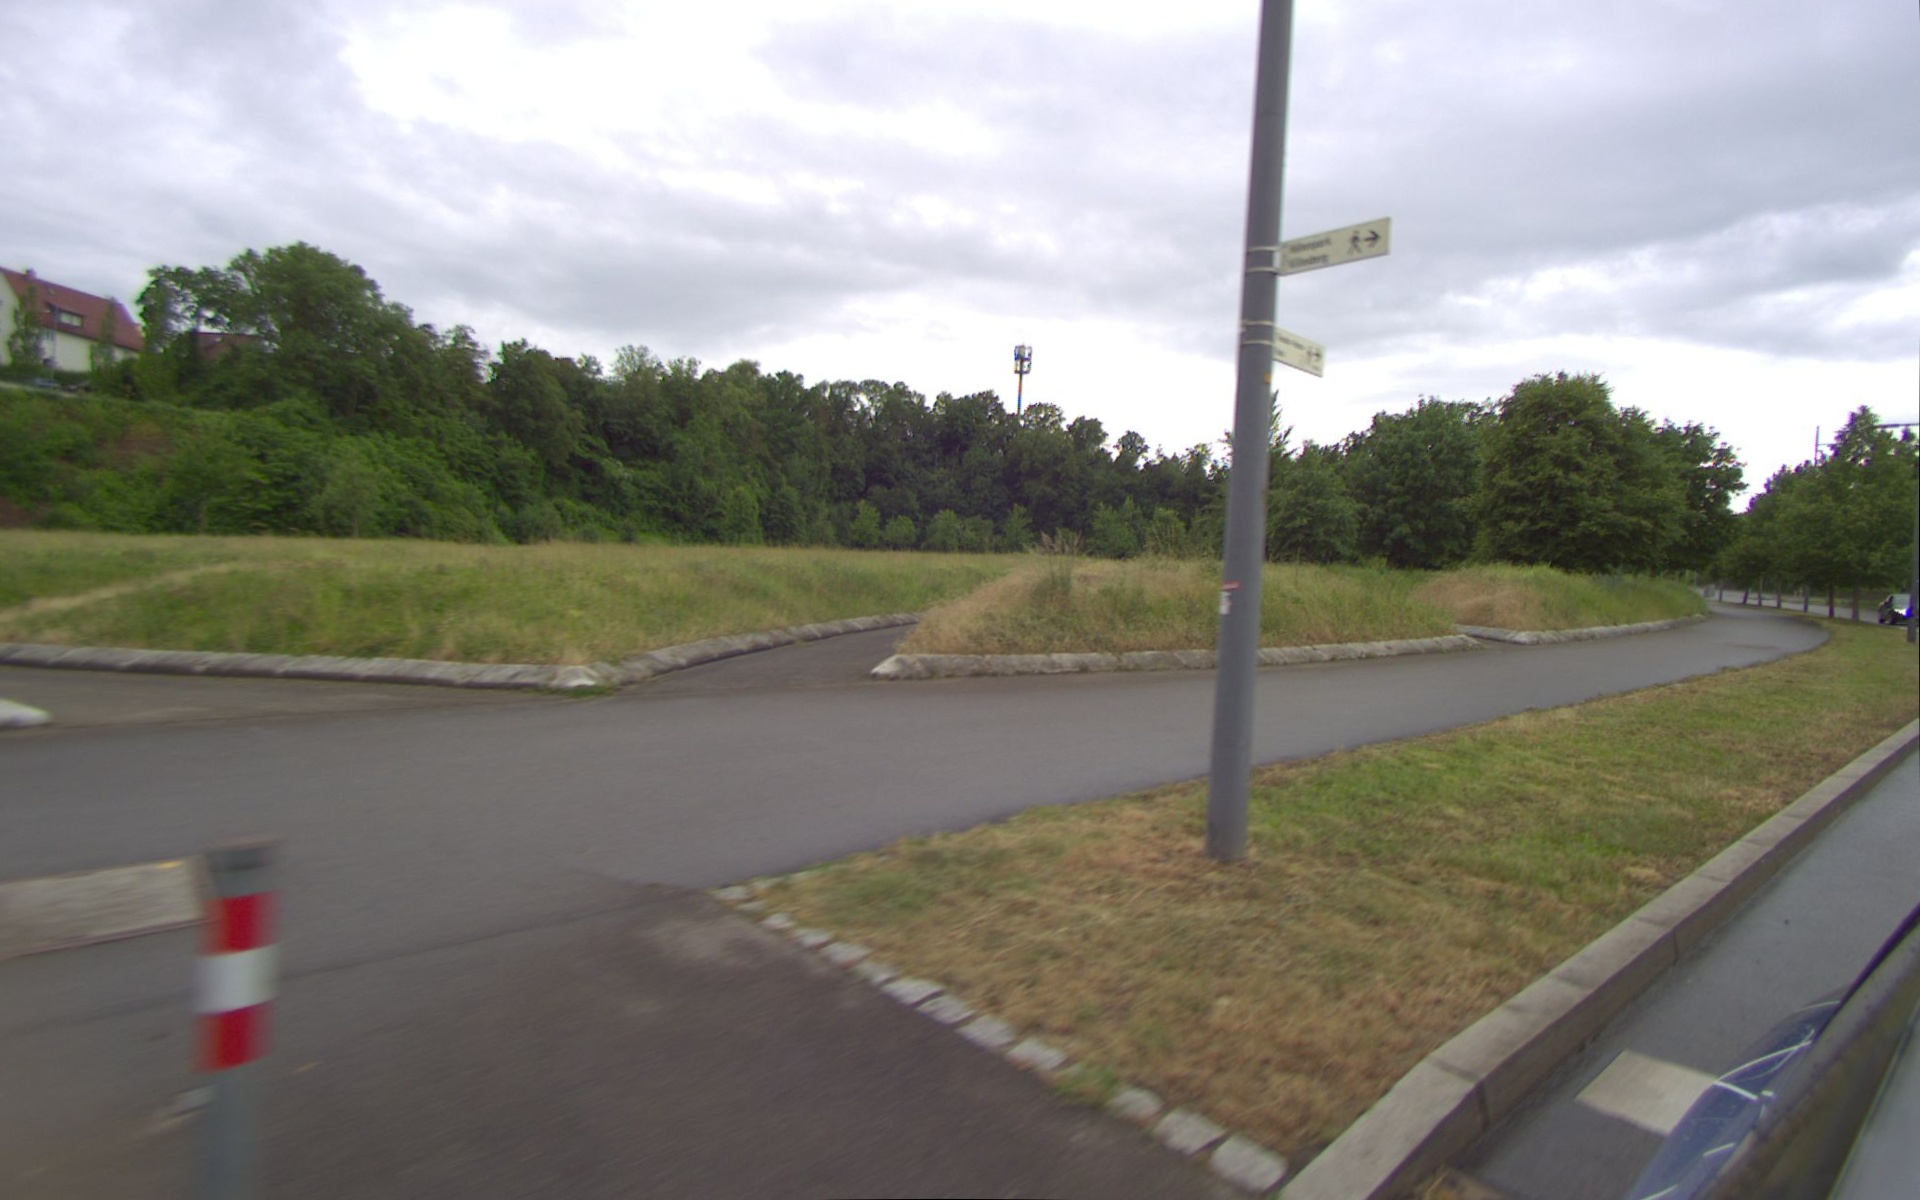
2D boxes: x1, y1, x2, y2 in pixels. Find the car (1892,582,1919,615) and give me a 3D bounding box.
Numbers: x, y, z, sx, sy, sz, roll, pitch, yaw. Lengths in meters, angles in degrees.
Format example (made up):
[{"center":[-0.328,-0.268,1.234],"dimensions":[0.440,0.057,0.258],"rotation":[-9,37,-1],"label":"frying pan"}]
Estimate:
[{"center":[44.896,-0.018,47.142],"dimensions":[1.986,1.417,4.108],"rotation":[4,1,44],"label":"car"}]
